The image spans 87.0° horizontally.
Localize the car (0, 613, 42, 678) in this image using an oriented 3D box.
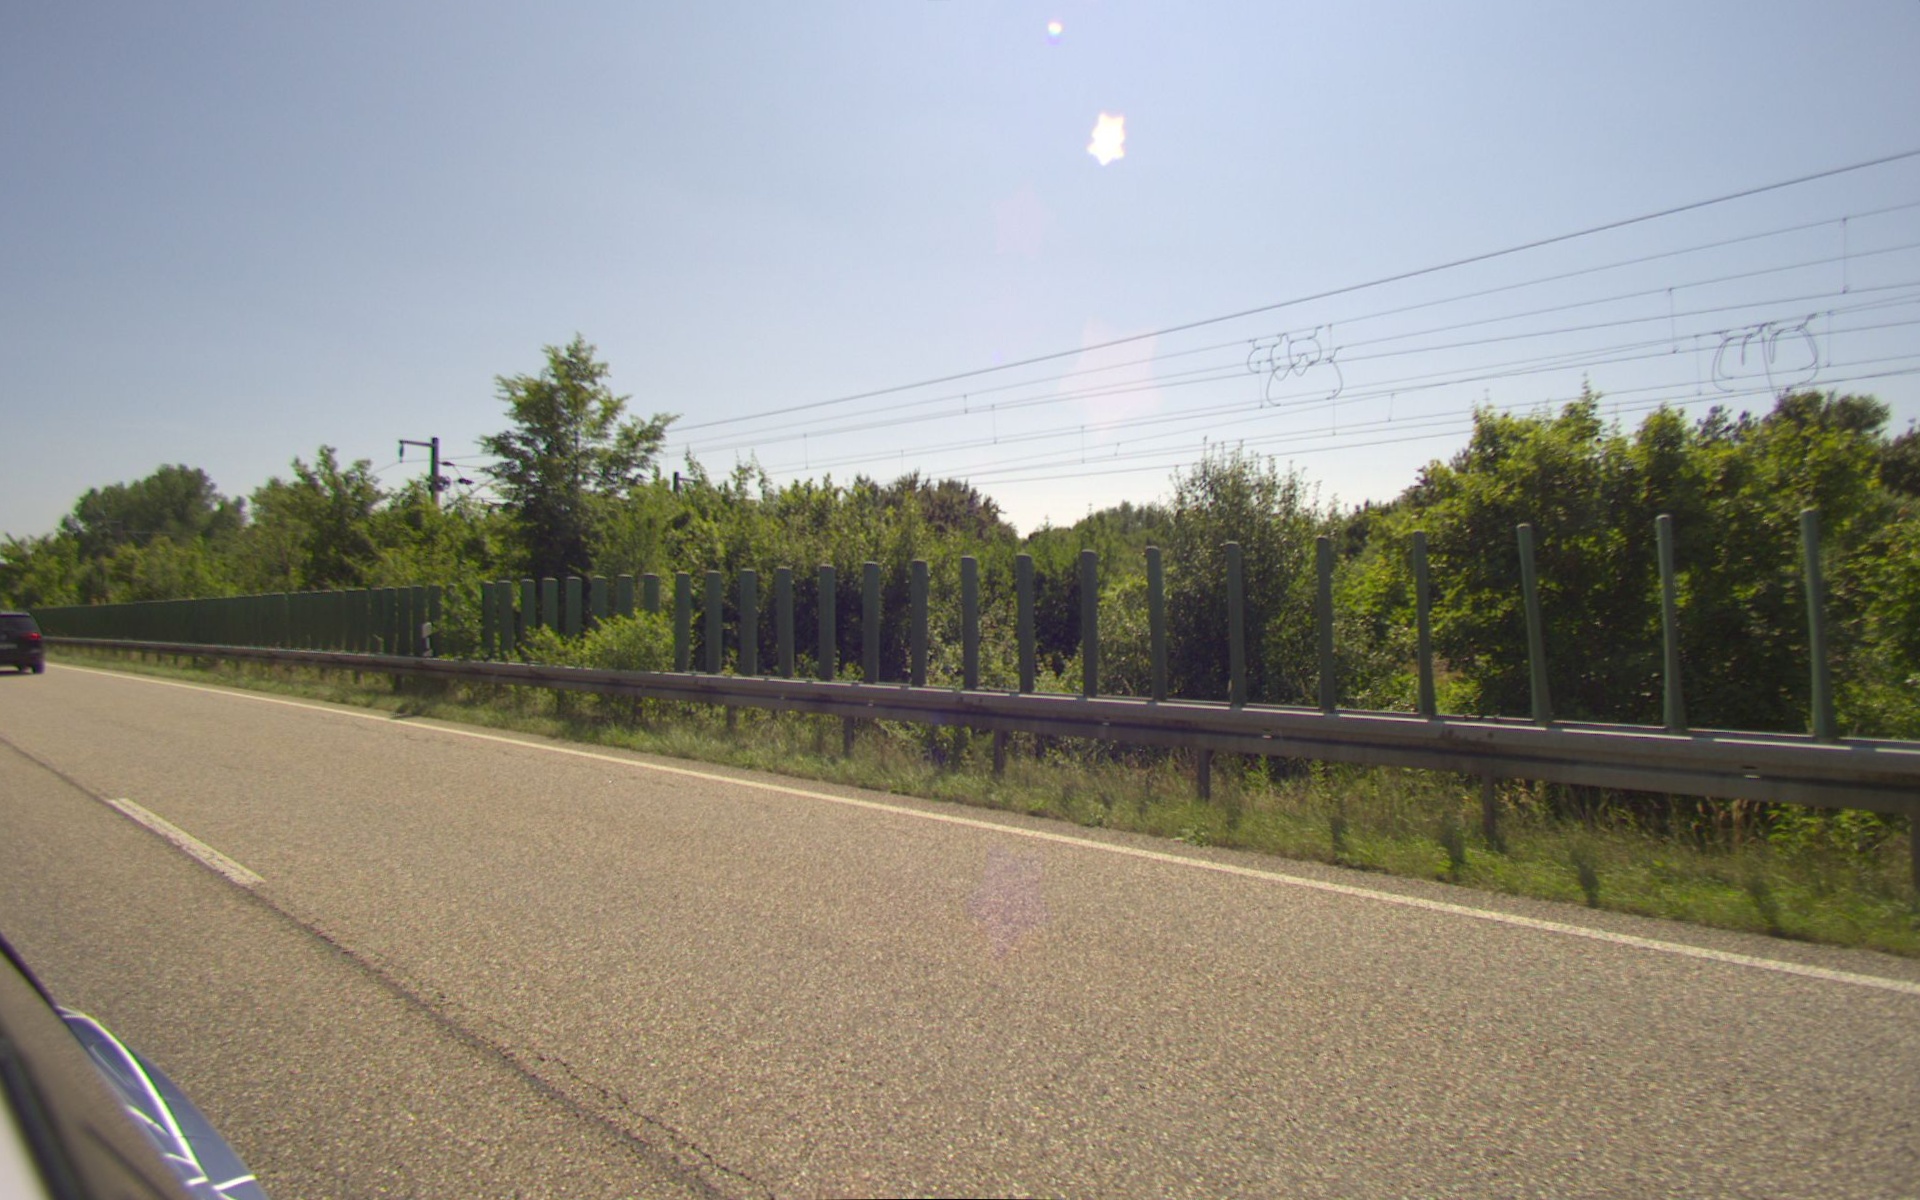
[{"bbox_3d":[-26.000,1.200,27.004,4.124,1.652,1.746,-1,-1,41],"label":"car"}]
